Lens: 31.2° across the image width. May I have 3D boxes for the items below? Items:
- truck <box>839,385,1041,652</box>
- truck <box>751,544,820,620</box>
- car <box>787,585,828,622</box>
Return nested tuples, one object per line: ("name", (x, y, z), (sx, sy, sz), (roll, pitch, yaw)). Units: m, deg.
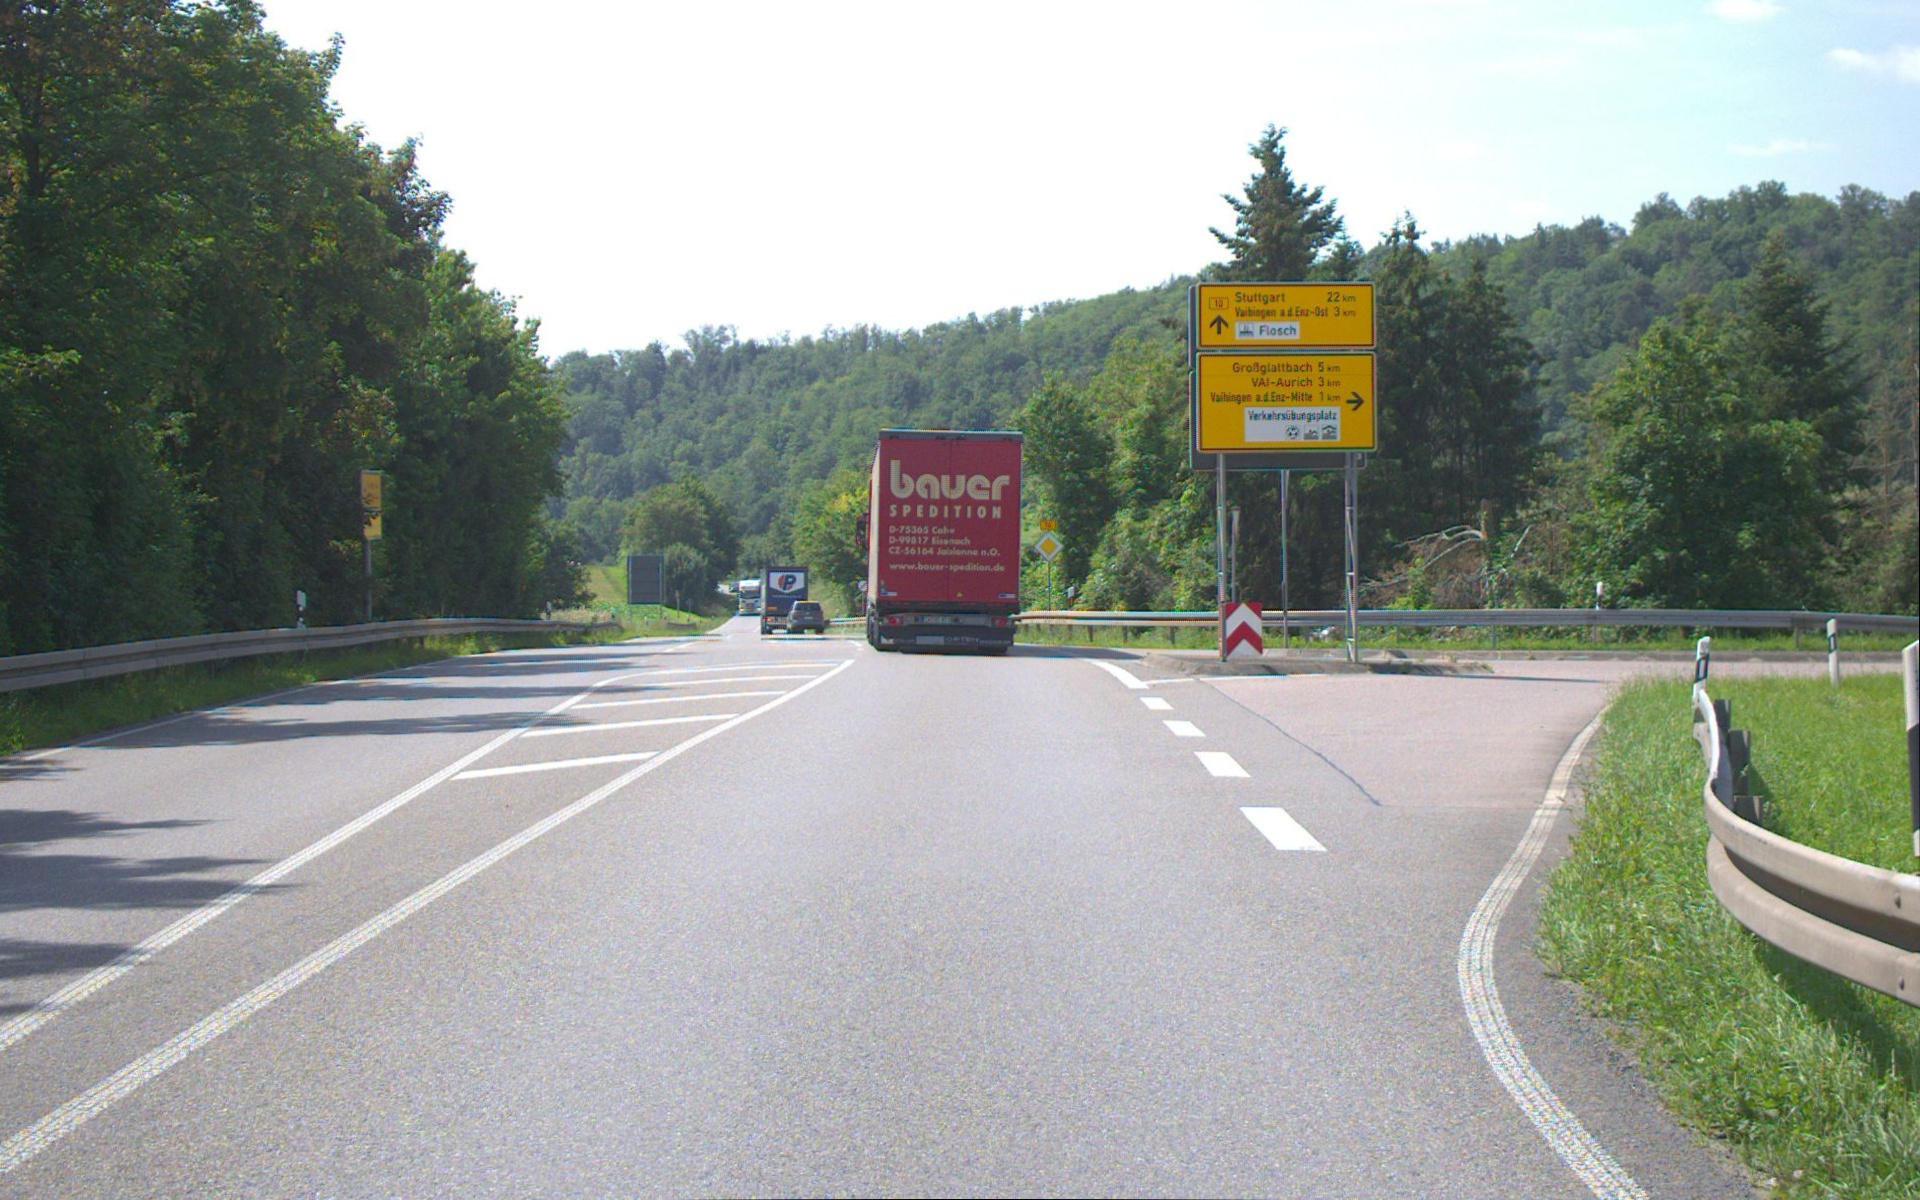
("truck", (-0.591, -1.524, 66.845), (3.172, 4.609, 13.545), (1, 1, -3))
("truck", (-10.900, -1.048, 213.835), (3.904, 4.355, 13.293), (2, -1, -4))
("car", (-8.121, 0.189, 182.663), (1.993, 1.804, 4.000), (3, -1, -4))
